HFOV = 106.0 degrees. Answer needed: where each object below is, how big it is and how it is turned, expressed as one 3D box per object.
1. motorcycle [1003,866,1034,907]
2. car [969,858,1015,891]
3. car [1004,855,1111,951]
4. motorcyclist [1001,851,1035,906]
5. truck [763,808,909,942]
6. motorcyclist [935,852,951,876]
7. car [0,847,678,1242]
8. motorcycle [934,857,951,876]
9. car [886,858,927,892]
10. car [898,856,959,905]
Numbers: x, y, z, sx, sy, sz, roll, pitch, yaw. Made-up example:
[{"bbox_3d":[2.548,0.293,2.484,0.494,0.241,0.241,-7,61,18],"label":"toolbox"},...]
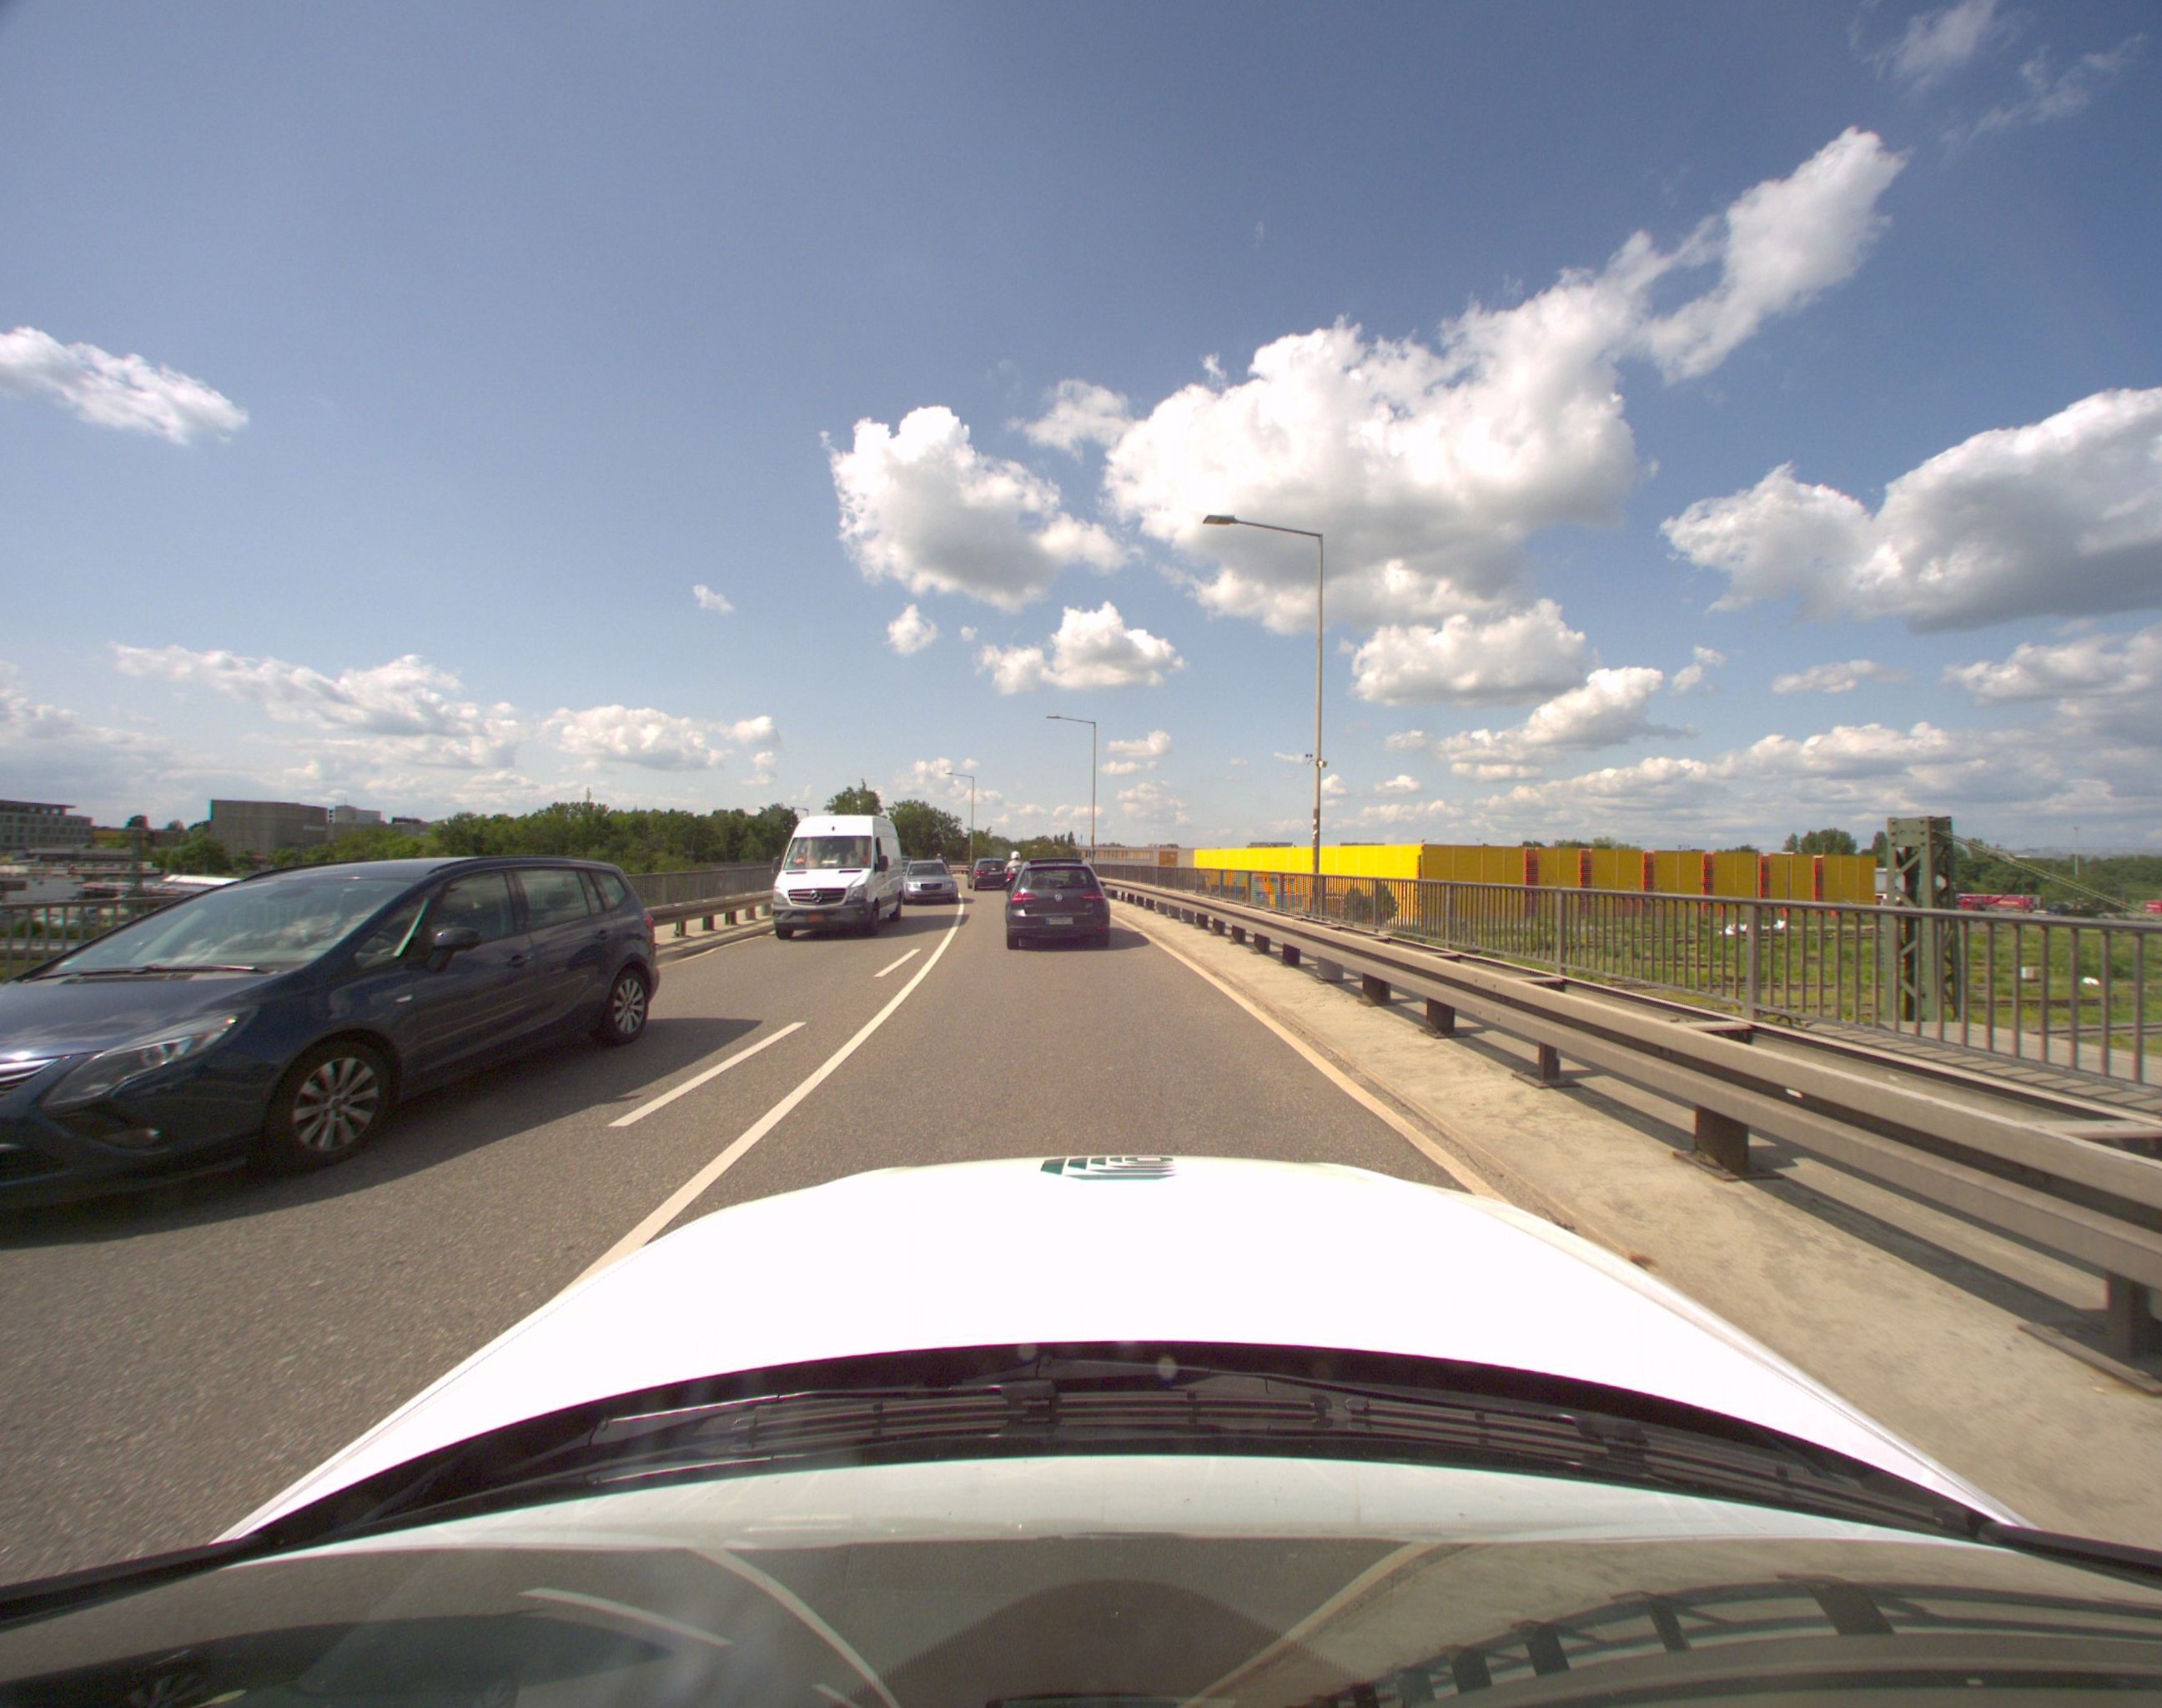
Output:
[{"bbox_3d":[-1.918,0.963,24.797,0.788,1.132,2.393,-1,0,-8],"label":"motorcycle"},{"bbox_3d":[-4.059,0.919,36.841,1.683,1.388,3.723,-1,-1,-12],"label":"car"},{"bbox_3d":[-0.553,0.788,14.850,1.640,1.479,3.863,-1,0,-6],"label":"car"},{"bbox_3d":[-1.933,0.730,24.818,0.965,1.620,1.122,0,0,-8],"label":"motorcyclist"},{"bbox_3d":[-5.306,0.385,18.543,1.991,2.507,5.936,-2,0,-6],"label":"truck"},{"bbox_3d":[-9.462,0.687,55.759,0.968,1.596,1.119,0,0,-16],"label":"motorcyclist"},{"bbox_3d":[-4.761,0.820,5.623,1.712,1.632,4.427,-2,0,0],"label":"car"},{"bbox_3d":[-9.469,0.872,55.718,0.889,1.247,2.386,-1,0,-16],"label":"motorcycle"},{"bbox_3d":[-7.874,0.903,36.484,1.634,1.345,4.233,-3,0,-14],"label":"car"},{"bbox_3d":[-5.316,0.862,28.053,1.769,1.460,4.277,-2,0,-14],"label":"car"}]
